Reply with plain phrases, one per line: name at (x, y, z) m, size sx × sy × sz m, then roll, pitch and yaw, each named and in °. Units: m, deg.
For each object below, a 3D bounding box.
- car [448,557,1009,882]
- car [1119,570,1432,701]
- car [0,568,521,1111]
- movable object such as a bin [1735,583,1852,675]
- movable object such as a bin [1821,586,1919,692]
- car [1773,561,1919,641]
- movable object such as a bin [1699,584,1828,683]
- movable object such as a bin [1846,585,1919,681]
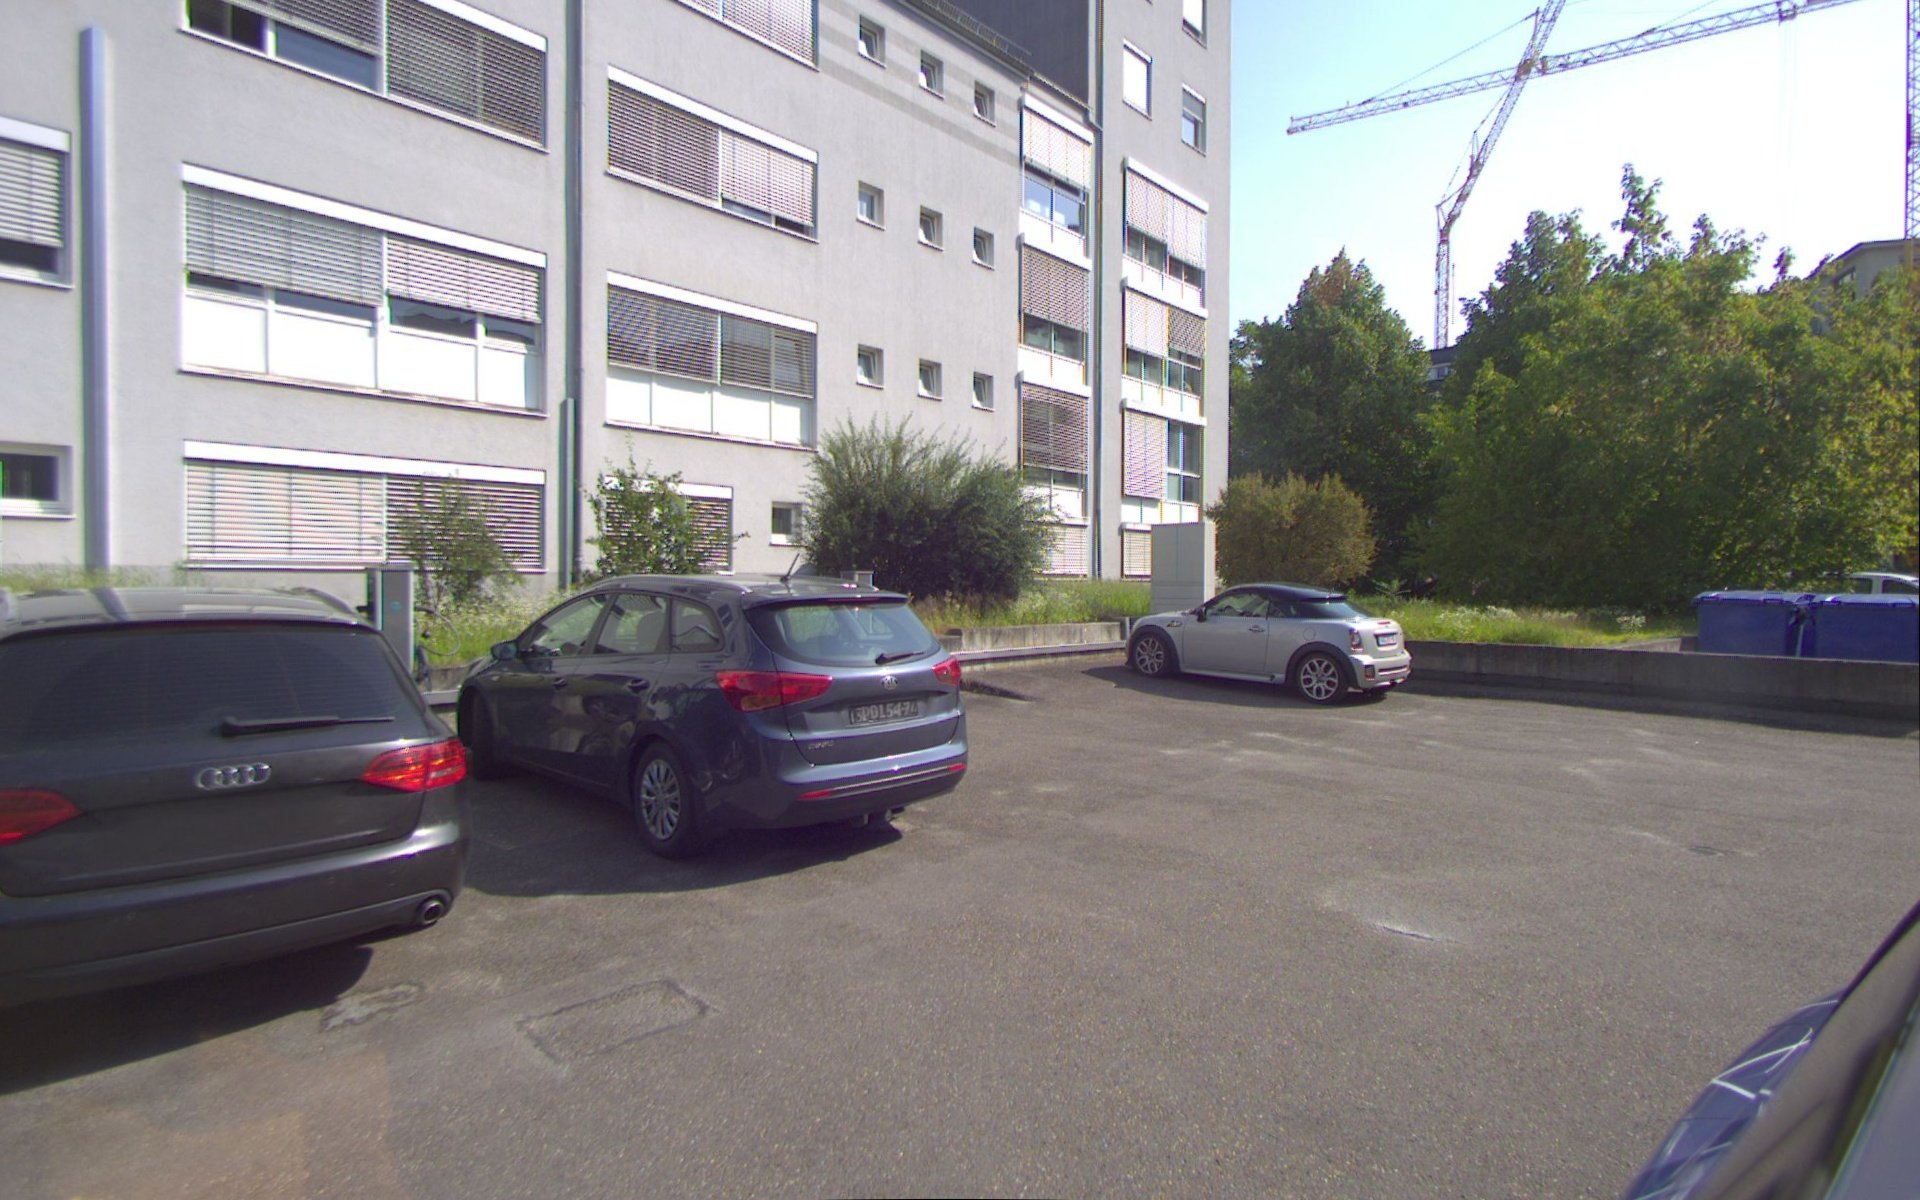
car at (-1.755, 0.496, 6.688) m, size 4.048 × 1.496 × 1.715 m, roll 2°, pitch 1°, yaw 44°
car at (4.018, 0.357, 13.241) m, size 1.631 × 1.455 × 3.573 m, roll 0°, pitch 1°, yaw -44°
car at (-3.616, 0.590, 4.631) m, size 1.662 × 1.455 × 4.238 m, roll 0°, pitch 1°, yaw -43°
movable object such as a bin at (12.978, 0.415, 15.761) m, size 1.253 × 1.344 × 1.199 m, roll 0°, pitch 1°, yaw -40°
movable object such as a bin at (12.574, 0.494, 13.736) m, size 1.253 × 1.368 × 1.212 m, roll 0°, pitch 1°, yaw -43°
car at (24.113, 0.009, 25.949) m, size 1.874 × 1.956 × 4.790 m, roll 0°, pitch 1°, yaw -38°
movable object such as a bin at (11.729, 0.448, 14.783) m, size 1.253 × 1.344 × 1.256 m, roll 0°, pitch 1°, yaw -40°
movable object such as a bin at (13.763, 0.458, 14.690) m, size 1.253 × 1.344 × 1.199 m, roll 0°, pitch 1°, yaw -40°
